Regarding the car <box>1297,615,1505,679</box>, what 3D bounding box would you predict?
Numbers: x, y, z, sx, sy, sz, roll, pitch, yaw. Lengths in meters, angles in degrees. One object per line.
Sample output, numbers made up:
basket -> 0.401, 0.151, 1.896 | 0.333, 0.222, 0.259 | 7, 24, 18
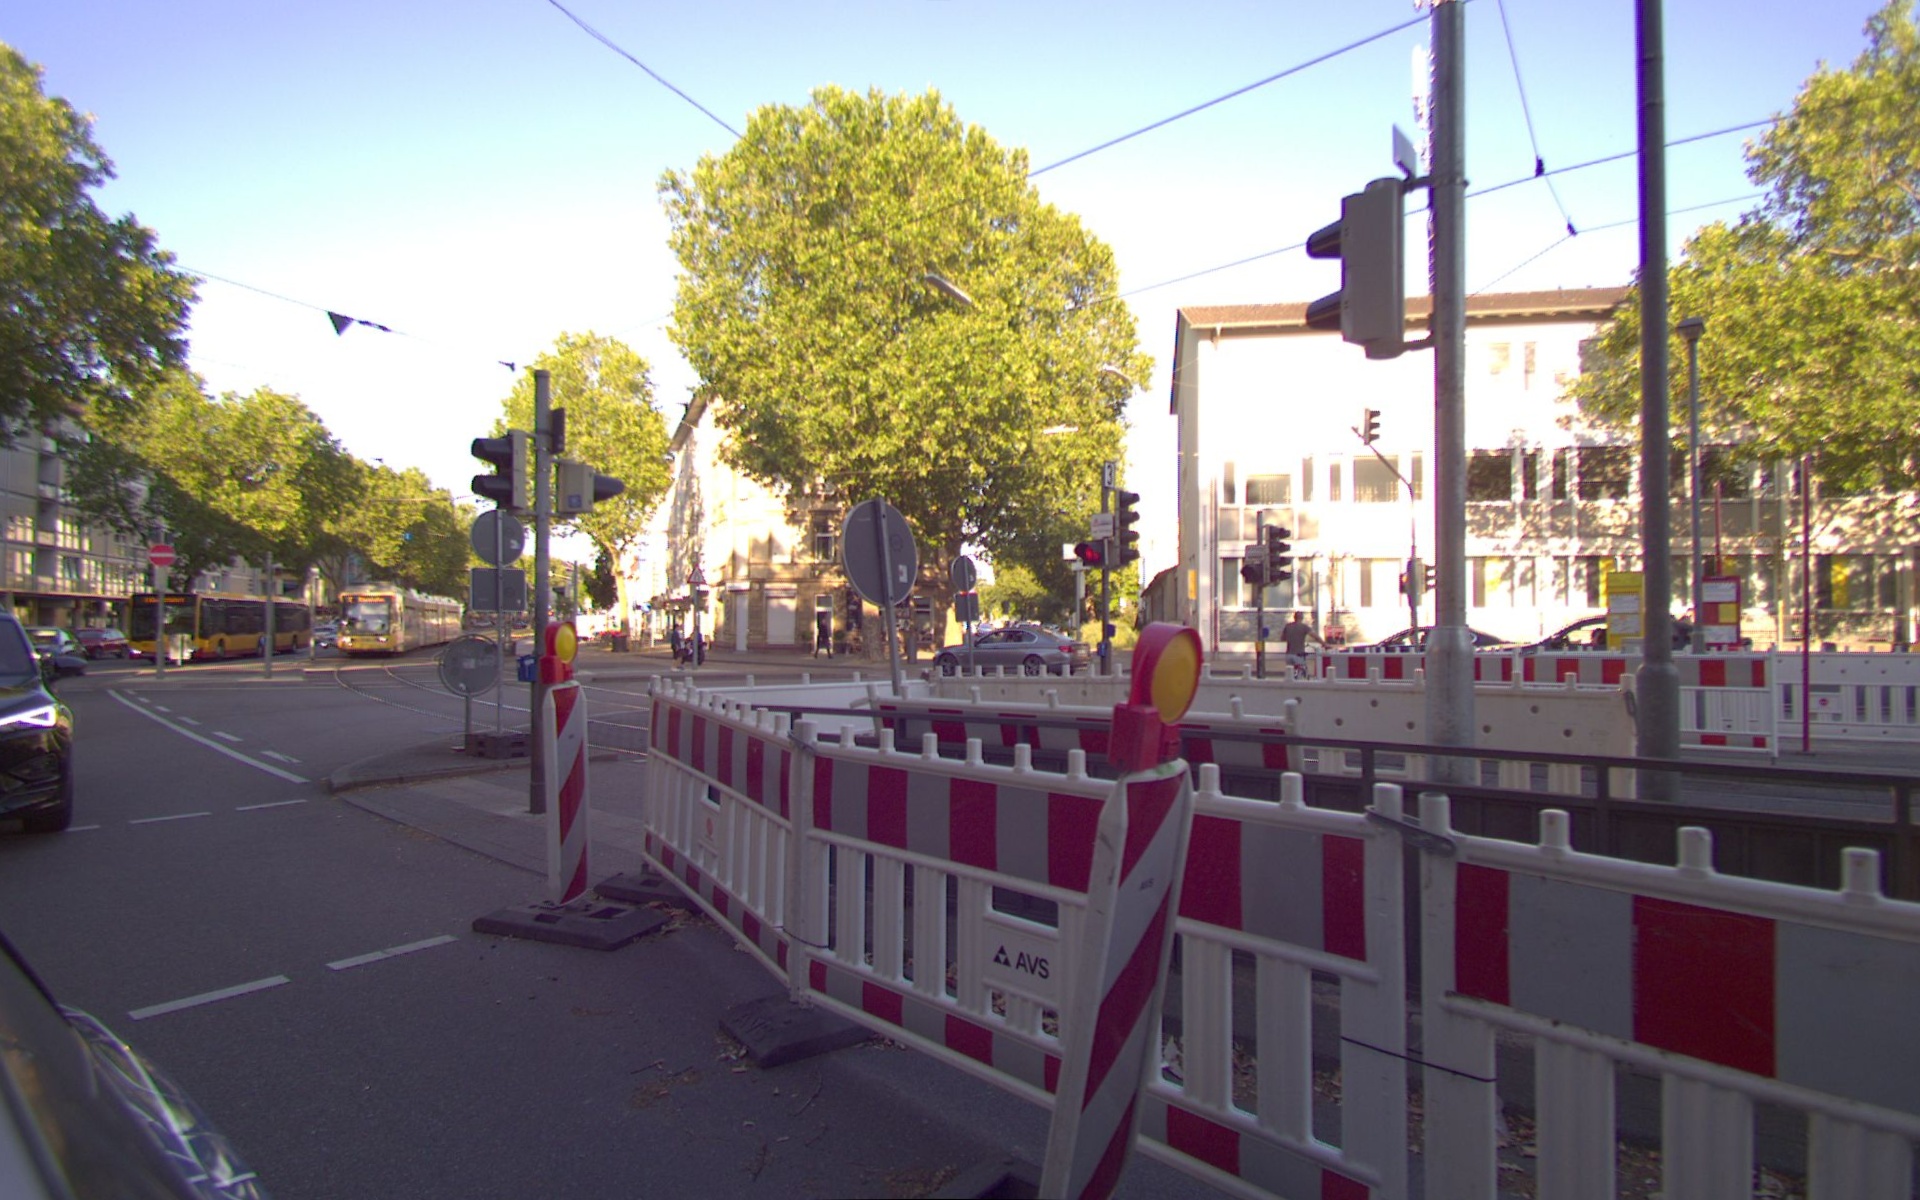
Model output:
car -> 10.940, 1.177, 25.168 | 4.520, 1.459, 1.979 | -2, -3, 31

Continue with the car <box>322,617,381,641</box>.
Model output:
car -> -61.693, 2.886, 102.636 | 1.872, 2.394, 4.819 | 0, -1, 29

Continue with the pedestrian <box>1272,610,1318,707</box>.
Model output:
pedestrian -> 6.280, 1.083, 18.967 | 0.588, 1.772, 0.597 | 1, -2, -44

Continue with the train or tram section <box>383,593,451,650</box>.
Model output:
train or tram section -> -36.385, 1.445, 68.145 | 2.830, 3.514, 10.372 | 0, -1, -22

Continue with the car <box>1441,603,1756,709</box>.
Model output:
car -> 11.357, 0.948, 18.301 | 4.575, 1.680, 1.879 | -1, 0, 34

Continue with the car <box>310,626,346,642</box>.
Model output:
car -> -58.066, 3.145, 92.963 | 1.201, 1.399, 2.593 | -1, -1, 42

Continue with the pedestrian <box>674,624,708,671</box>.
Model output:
pedestrian -> -8.860, 1.548, 33.352 | 0.795, 1.520, 0.793 | -1, -2, 17

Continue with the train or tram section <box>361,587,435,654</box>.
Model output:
train or tram section -> -32.355, 1.196, 58.620 | 2.795, 3.514, 10.372 | 0, -1, -24

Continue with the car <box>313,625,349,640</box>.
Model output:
car -> -59.514, 3.095, 95.774 | 1.201, 1.355, 2.593 | -1, -1, 42

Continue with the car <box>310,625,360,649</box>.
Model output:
car -> -42.476, 2.502, 68.875 | 1.880, 1.486, 4.432 | 0, -1, -18

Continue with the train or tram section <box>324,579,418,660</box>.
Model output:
train or tram section -> -28.293, 0.969, 49.048 | 2.776, 3.514, 10.372 | 0, -1, -24

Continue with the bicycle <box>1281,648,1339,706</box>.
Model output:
bicycle -> 6.383, 1.378, 18.419 | 1.558, 0.973, 0.322 | 1, -2, -45

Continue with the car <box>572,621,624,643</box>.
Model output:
car -> -33.975, 3.013, 95.057 | 1.895, 1.991, 4.605 | -1, -2, 28

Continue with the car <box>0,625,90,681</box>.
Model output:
car -> -26.268, 1.483, 29.030 | 1.625, 1.483, 3.717 | 0, -2, -35

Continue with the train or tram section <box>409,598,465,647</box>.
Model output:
train or tram section -> -40.104, 1.749, 77.845 | 2.795, 3.514, 10.372 | 0, -1, -22

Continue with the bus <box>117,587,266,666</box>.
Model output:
bus -> -33.947, 1.195, 45.175 | 2.707, 3.127, 9.527 | 0, -2, -21

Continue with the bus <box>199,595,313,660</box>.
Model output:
bus -> -37.316, 1.458, 54.074 | 2.707, 3.127, 9.527 | 0, -2, -21

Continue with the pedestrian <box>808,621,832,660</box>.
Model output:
pedestrian -> -6.392, 1.840, 46.252 | 0.801, 1.769, 0.787 | -2, -2, 40

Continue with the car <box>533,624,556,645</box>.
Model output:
car -> -43.316, 3.574, 105.598 | 2.131, 2.138, 4.994 | 2, -3, -21

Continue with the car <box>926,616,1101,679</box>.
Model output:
car -> 1.481, 1.353, 28.859 | 4.679, 1.667, 1.930 | -2, -3, 35

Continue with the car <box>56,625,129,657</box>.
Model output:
car -> -42.472, 2.016, 49.644 | 1.624, 1.483, 3.720 | 0, -2, -23

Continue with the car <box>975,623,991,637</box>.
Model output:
car -> 2.632, 3.347, 113.846 | 1.705, 1.505, 3.995 | 0, -1, 3

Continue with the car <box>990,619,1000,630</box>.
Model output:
car -> 6.752, 4.617, 193.588 | 1.827, 2.031, 3.995 | 0, -1, 3

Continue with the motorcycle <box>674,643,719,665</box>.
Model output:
motorcycle -> -10.707, 2.199, 41.143 | 1.991, 0.814, 0.674 | 0, -1, 36

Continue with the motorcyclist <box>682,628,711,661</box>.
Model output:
motorcyclist -> -10.707, 1.789, 41.142 | 0.982, 1.325, 0.674 | -1, -1, 36

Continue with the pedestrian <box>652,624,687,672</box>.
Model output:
pedestrian -> -9.351, 1.541, 32.607 | 0.794, 1.520, 0.795 | -1, -2, 11

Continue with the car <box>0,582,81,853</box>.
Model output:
car -> -7.832, 0.773, 7.330 | 4.299, 1.670, 1.823 | -2, -1, 44

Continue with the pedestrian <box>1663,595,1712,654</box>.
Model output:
pedestrian -> 21.838, 0.723, 30.386 | 0.875, 1.742, 0.806 | -1, -2, 8
